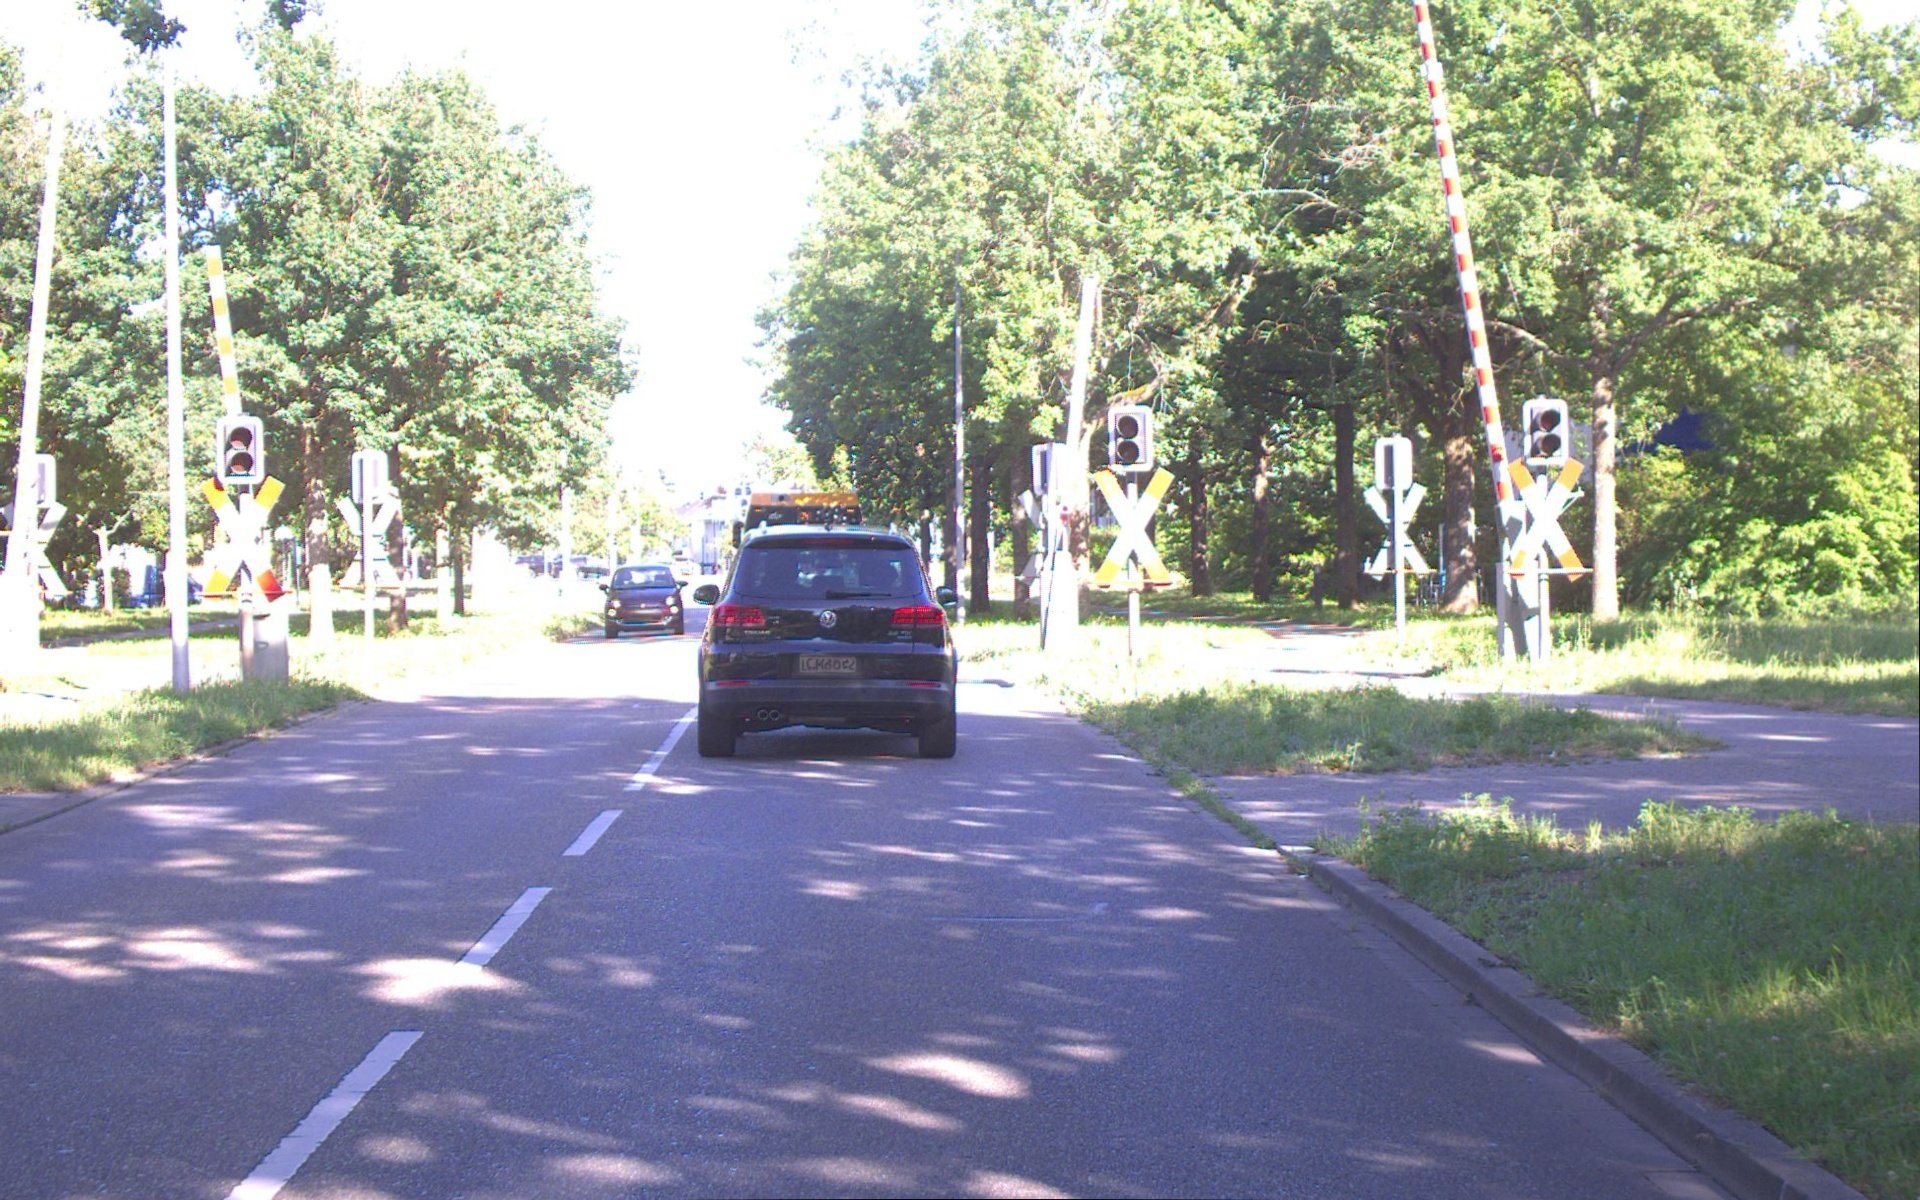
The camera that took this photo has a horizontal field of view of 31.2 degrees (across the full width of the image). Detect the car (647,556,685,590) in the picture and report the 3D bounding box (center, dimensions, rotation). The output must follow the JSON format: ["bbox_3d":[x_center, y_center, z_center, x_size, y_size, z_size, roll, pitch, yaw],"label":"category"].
[{"bbox_3d":[-17.526,-1.618,204.772,1.993,2.007,4.001,1,1,-9],"label":"car"}]

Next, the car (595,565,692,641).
[{"bbox_3d":[-6.573,0.044,71.720,1.565,1.499,4.000,1,1,1],"label":"car"}]

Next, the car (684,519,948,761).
[{"bbox_3d":[-1.020,0.243,25.527,1.782,1.628,4.000,1,1,-1],"label":"car"}]

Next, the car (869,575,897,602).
[{"bbox_3d":[-4.177,-0.636,186.641,1.452,1.401,2.856,1,1,-2],"label":"car"}]

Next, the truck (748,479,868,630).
[{"bbox_3d":[-3.410,-1.059,78.703,2.512,3.232,8.153,-1,1,-1],"label":"truck"}]

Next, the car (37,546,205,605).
[{"bbox_3d":[-30.048,-0.889,123.202,5.788,2.007,2.001,1,1,-13],"label":"car"}]
